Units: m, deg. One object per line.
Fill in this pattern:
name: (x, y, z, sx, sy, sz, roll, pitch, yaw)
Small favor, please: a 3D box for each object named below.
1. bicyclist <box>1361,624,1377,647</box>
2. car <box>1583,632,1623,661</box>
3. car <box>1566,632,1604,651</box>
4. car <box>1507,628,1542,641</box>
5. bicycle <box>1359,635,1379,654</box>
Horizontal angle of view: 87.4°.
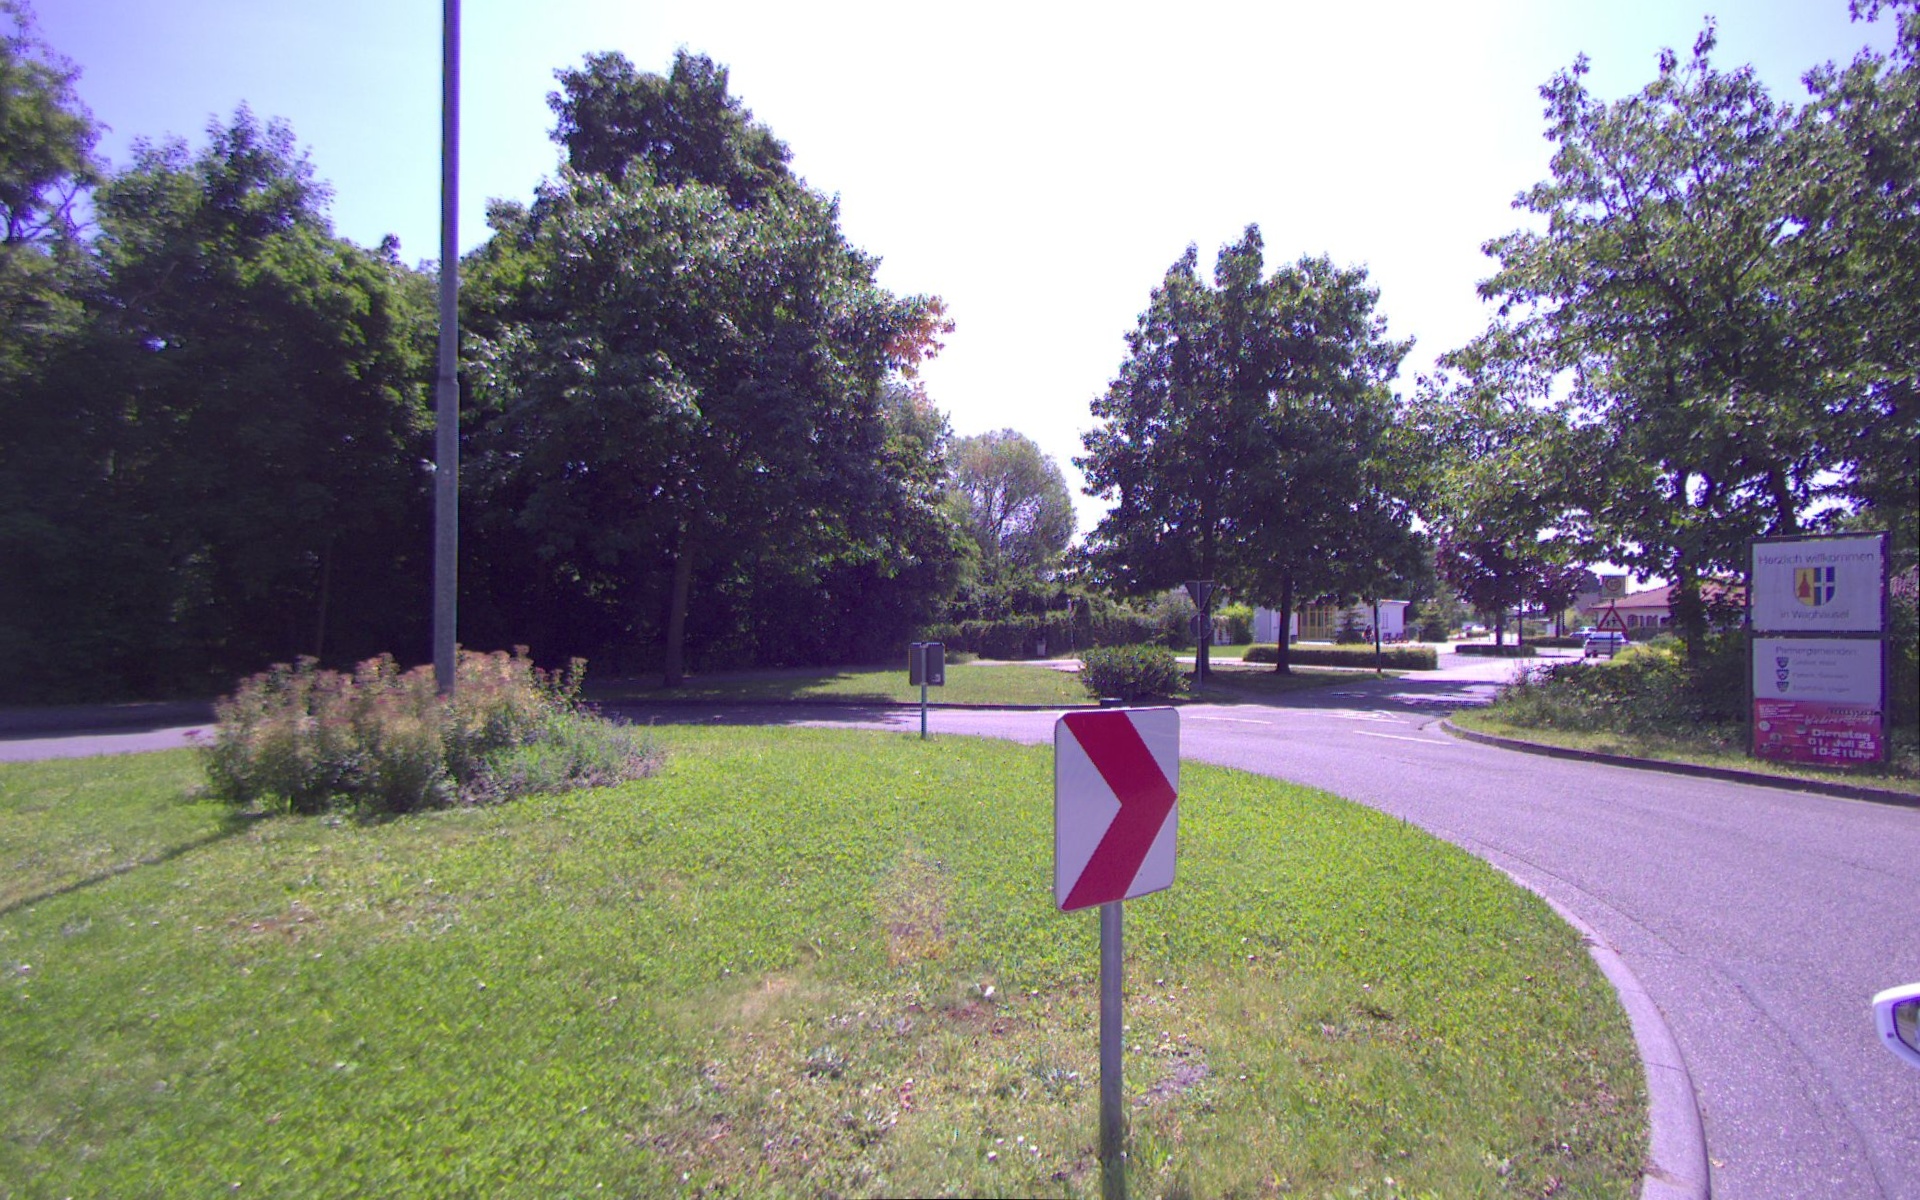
bicyclist: (21.172, 1.851, 52.001, 0.589, 1.180, 0.646, -1, -1, 37)
car: (31.729, 2.266, 49.597, 1.592, 1.305, 3.548, 0, -1, 33)
car: (51.775, 3.452, 83.331, 1.601, 1.505, 4.002, 0, -2, 16)
car: (59.203, 3.563, 105.391, 1.959, 1.305, 4.003, 0, -1, 8)
bicycle: (21.189, 2.282, 52.014, 0.589, 0.941, 1.614, -1, -2, 37)
